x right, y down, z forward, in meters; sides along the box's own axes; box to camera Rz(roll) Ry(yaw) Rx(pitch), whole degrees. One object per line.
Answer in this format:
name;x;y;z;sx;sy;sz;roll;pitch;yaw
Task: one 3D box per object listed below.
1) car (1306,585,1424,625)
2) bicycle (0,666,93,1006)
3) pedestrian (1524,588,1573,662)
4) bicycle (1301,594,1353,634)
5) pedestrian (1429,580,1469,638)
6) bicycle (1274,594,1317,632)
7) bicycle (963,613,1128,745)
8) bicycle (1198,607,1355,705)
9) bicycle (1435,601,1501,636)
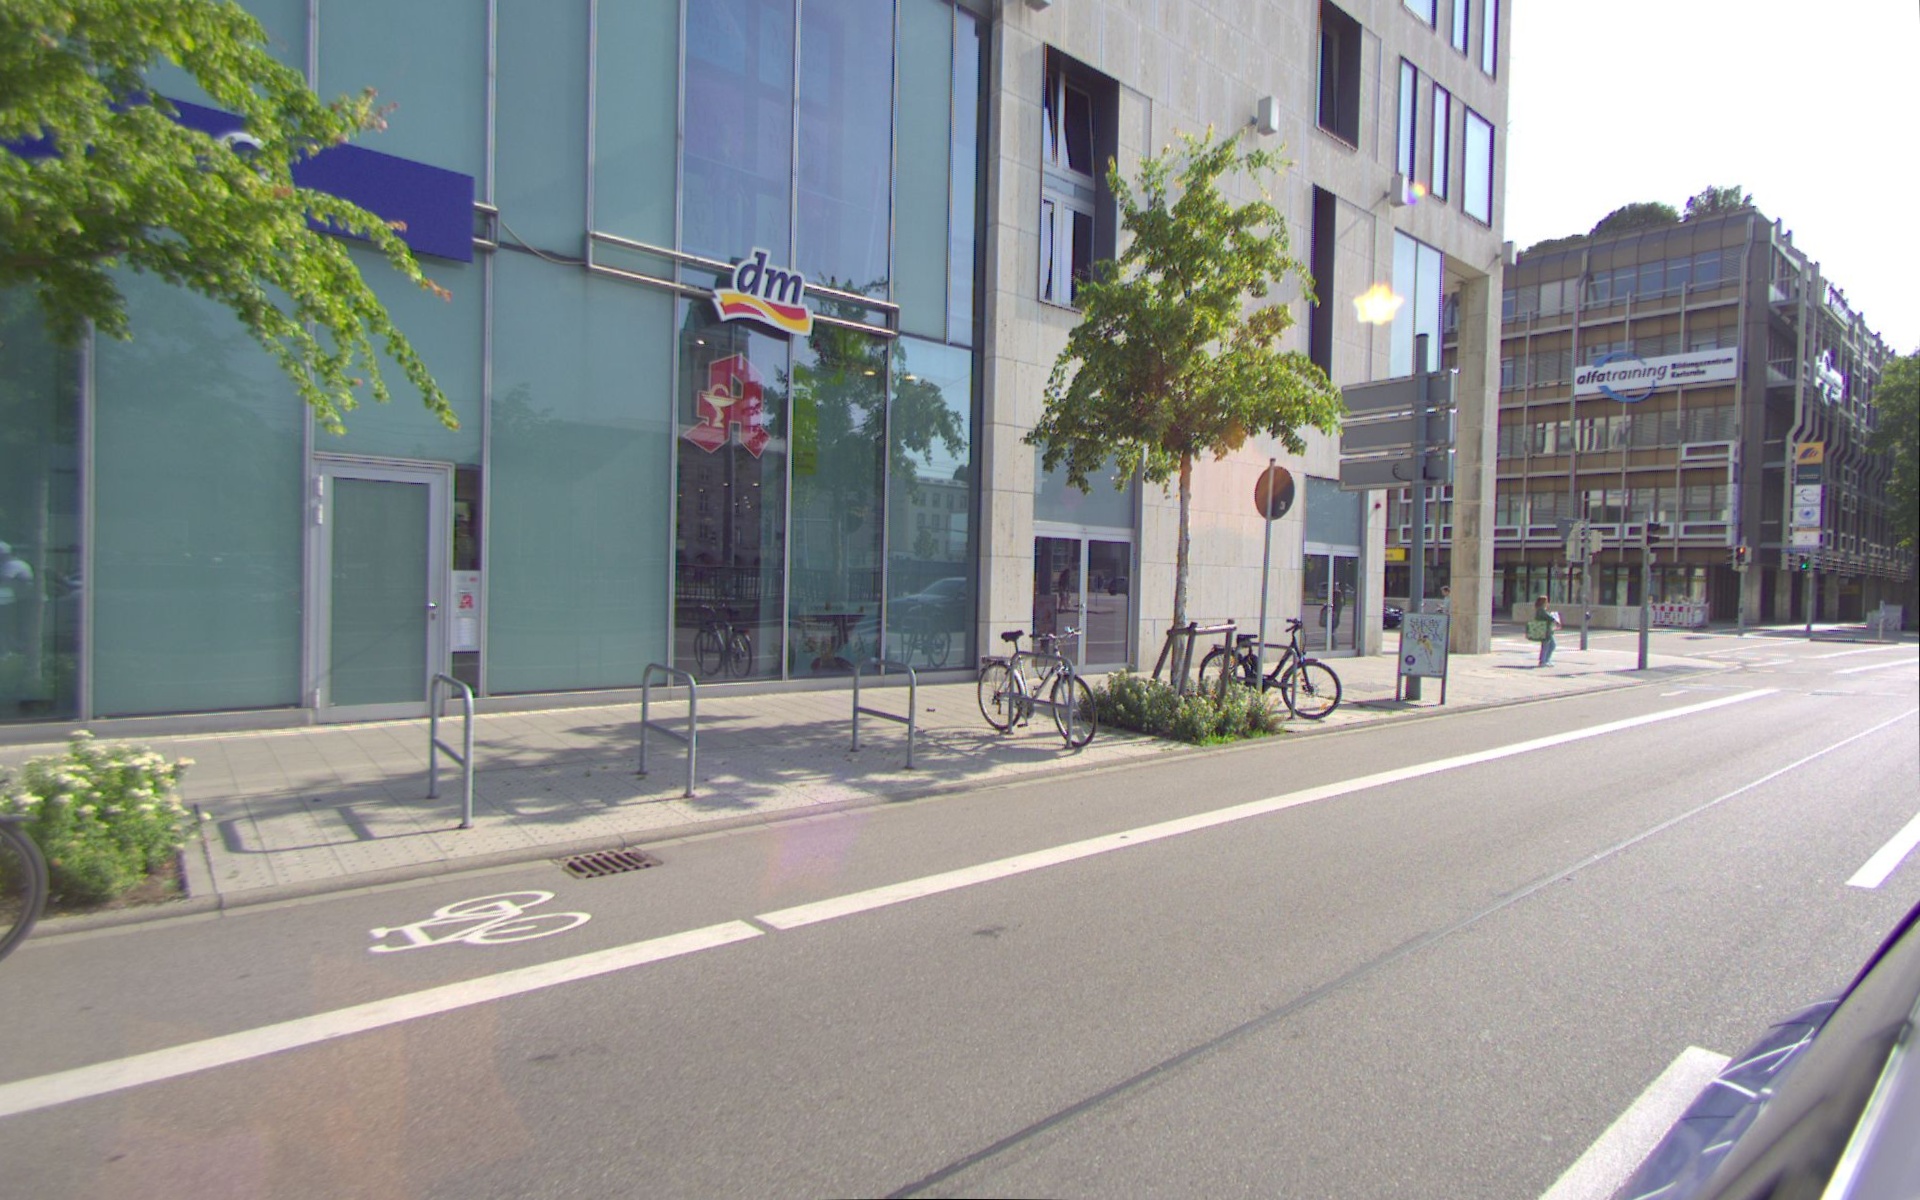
car;15.782;0.164;39.560;1.842;1.383;3.906;-1;2;-35
bicycle;-4.192;0.840;3.304;2.013;1.131;0.663;1;1;-38
pedestrian;12.372;0.515;21.284;0.594;1.506;0.709;1;1;-41
bicycle;12.141;0.451;33.487;2.032;1.253;0.615;0;1;-38
pedestrian;14.824;0.271;30.661;0.970;1.732;0.645;1;1;-32
bicycle;11.141;0.424;33.580;1.762;1.214;0.501;0;1;-41
bicycle;0.807;0.734;10.126;0.481;1.123;1.883;1;1;-37
bicycle;3.952;0.664;12.762;0.674;1.127;1.844;1;-1;-38
bicycle;16.352;0.582;32.620;0.601;1.030;1.806;1;1;-39
